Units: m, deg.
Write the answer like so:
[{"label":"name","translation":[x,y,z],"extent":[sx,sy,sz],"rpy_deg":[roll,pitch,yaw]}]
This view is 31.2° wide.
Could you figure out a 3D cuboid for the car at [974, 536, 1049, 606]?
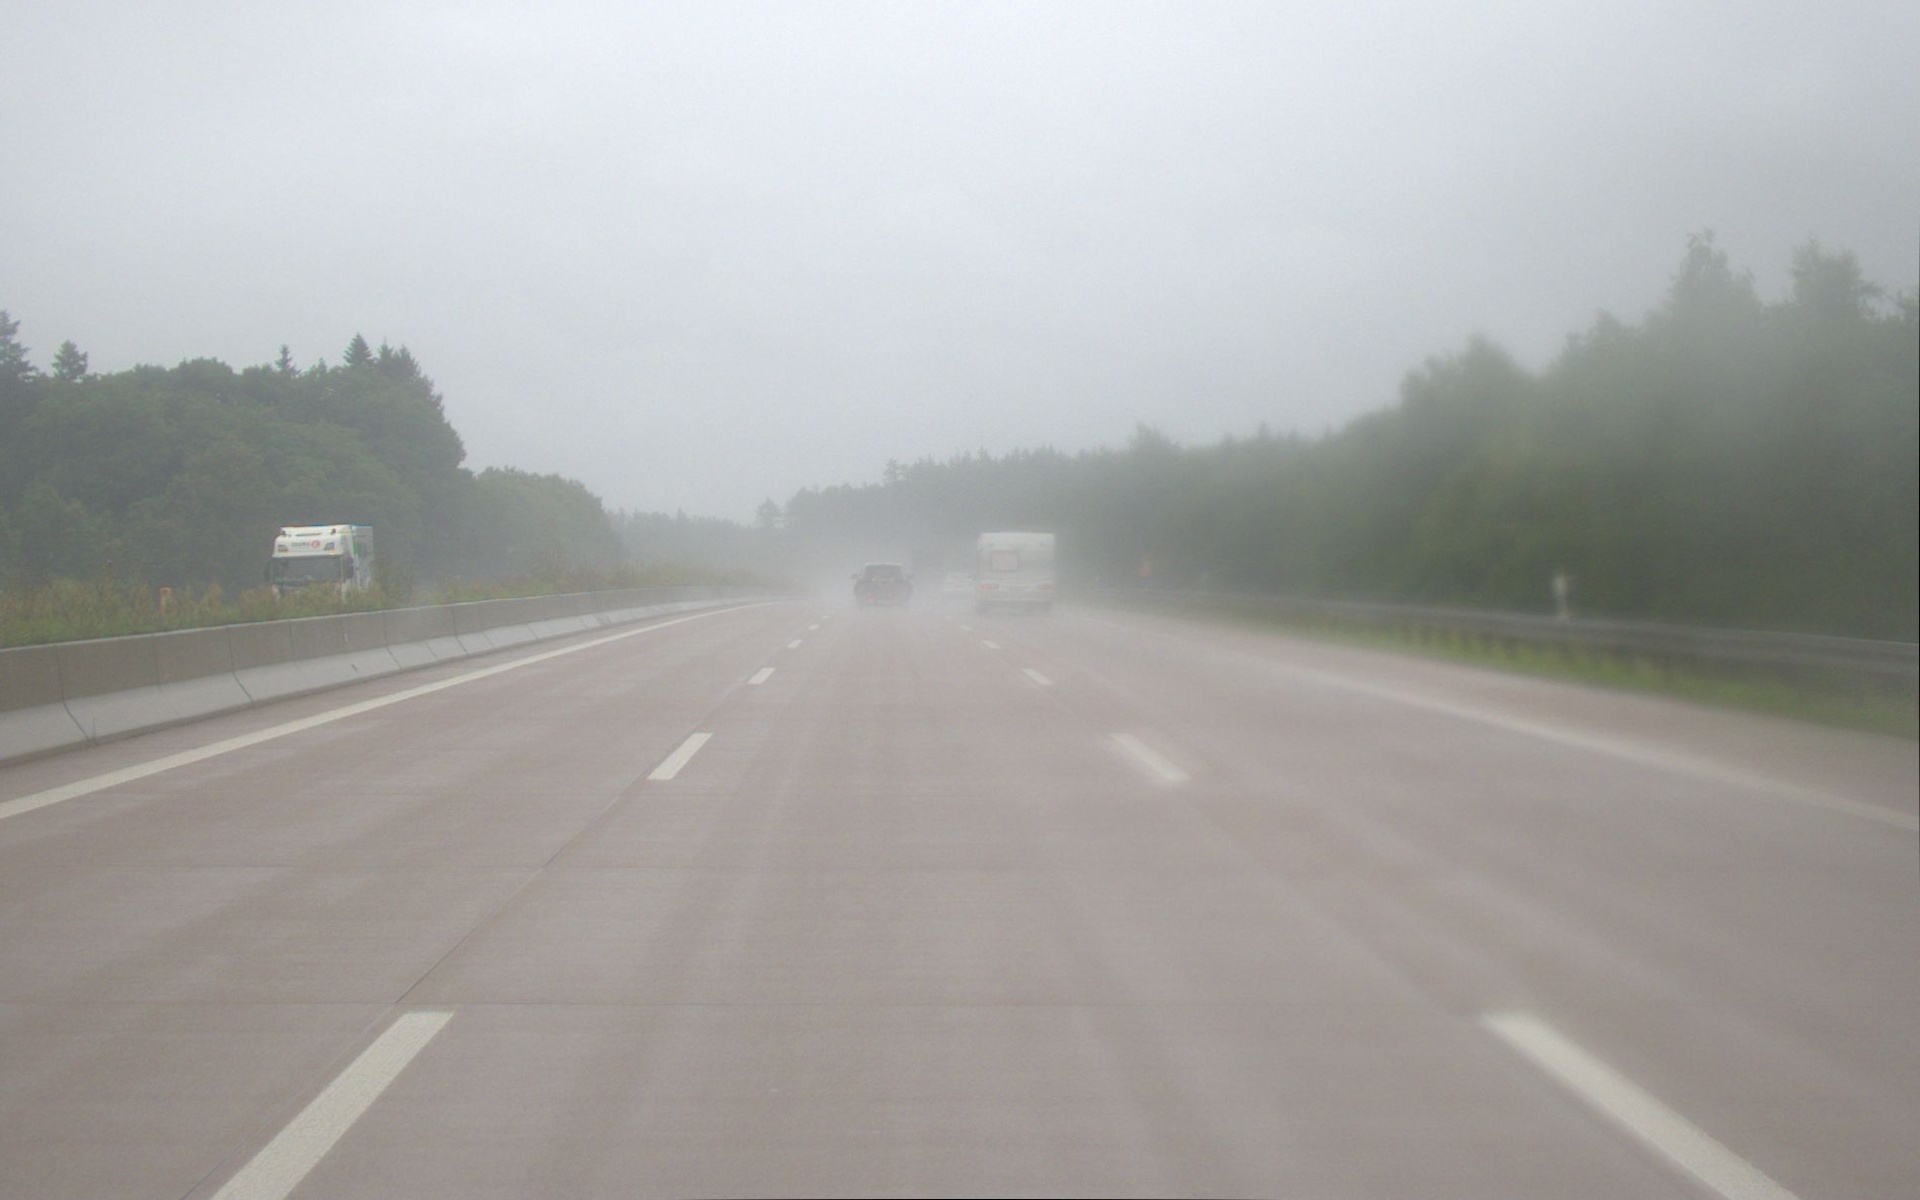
[{"label":"car","translation":[1.549,-0.902,104.825],"extent":[2.058,1.993,4.099],"rpy_deg":[3,1,0]}]

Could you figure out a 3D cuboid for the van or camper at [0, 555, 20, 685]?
[{"label":"van or camper","translation":[-17.235,0.357,56.773],"extent":[2.129,2.198,5.723],"rpy_deg":[0,1,-3]}]

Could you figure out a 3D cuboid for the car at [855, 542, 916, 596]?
[{"label":"car","translation":[-2.452,-1.041,113.739],"extent":[1.937,1.723,4.130],"rpy_deg":[0,1,0]}]
